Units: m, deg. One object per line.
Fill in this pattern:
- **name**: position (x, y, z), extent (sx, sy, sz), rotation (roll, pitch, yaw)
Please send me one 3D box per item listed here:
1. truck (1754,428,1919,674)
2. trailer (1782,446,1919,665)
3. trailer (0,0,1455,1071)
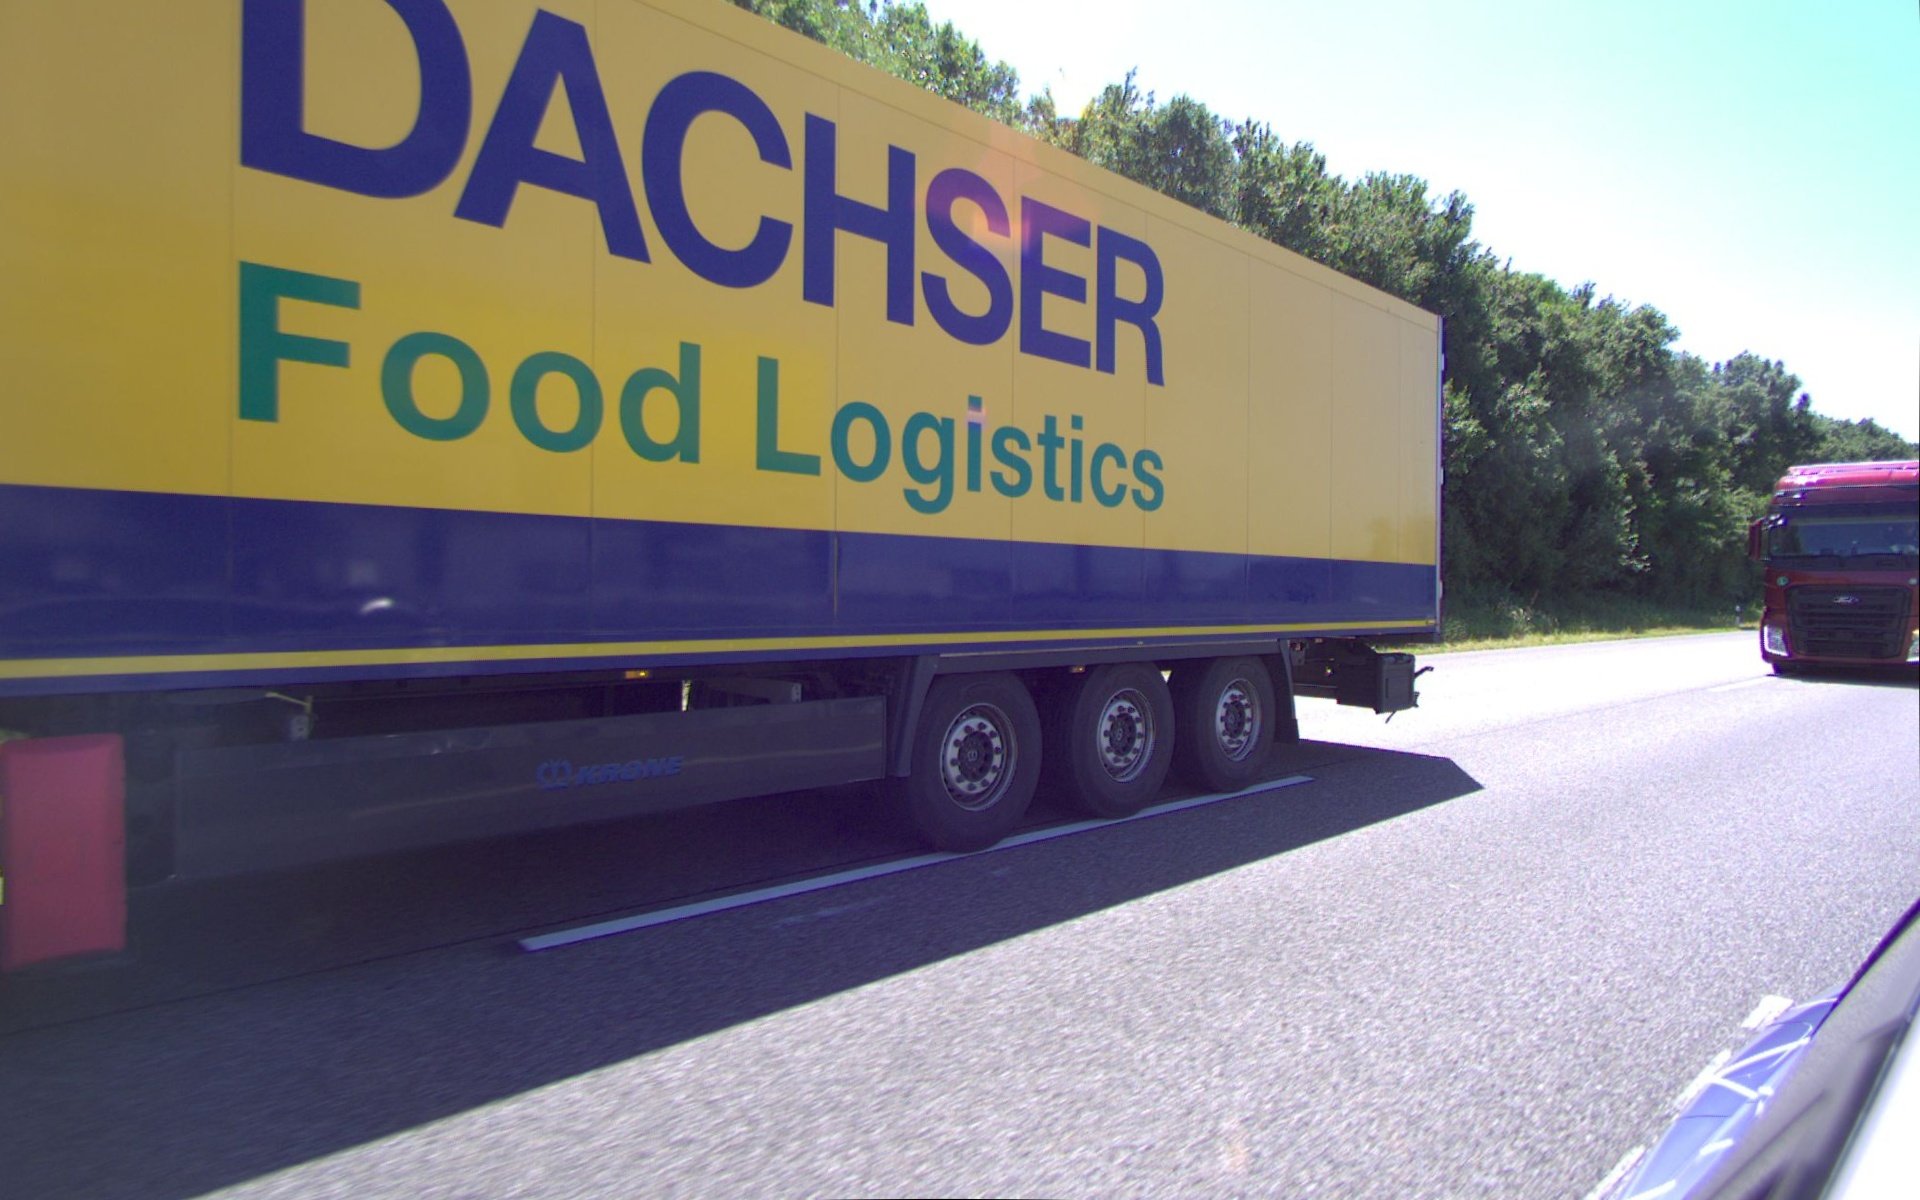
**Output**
- **truck**: position (17.698, -0.849, 19.493), extent (5.672, 4.121, 2.866), rotation (0, 0, -42)
- **trailer**: position (22.666, -0.879, 24.022), extent (13.599, 4.121, 2.882), rotation (0, 1, -42)
- **trailer**: position (-1.499, -0.762, 5.705), extent (13.594, 4.121, 2.682), rotation (0, 1, -41)
